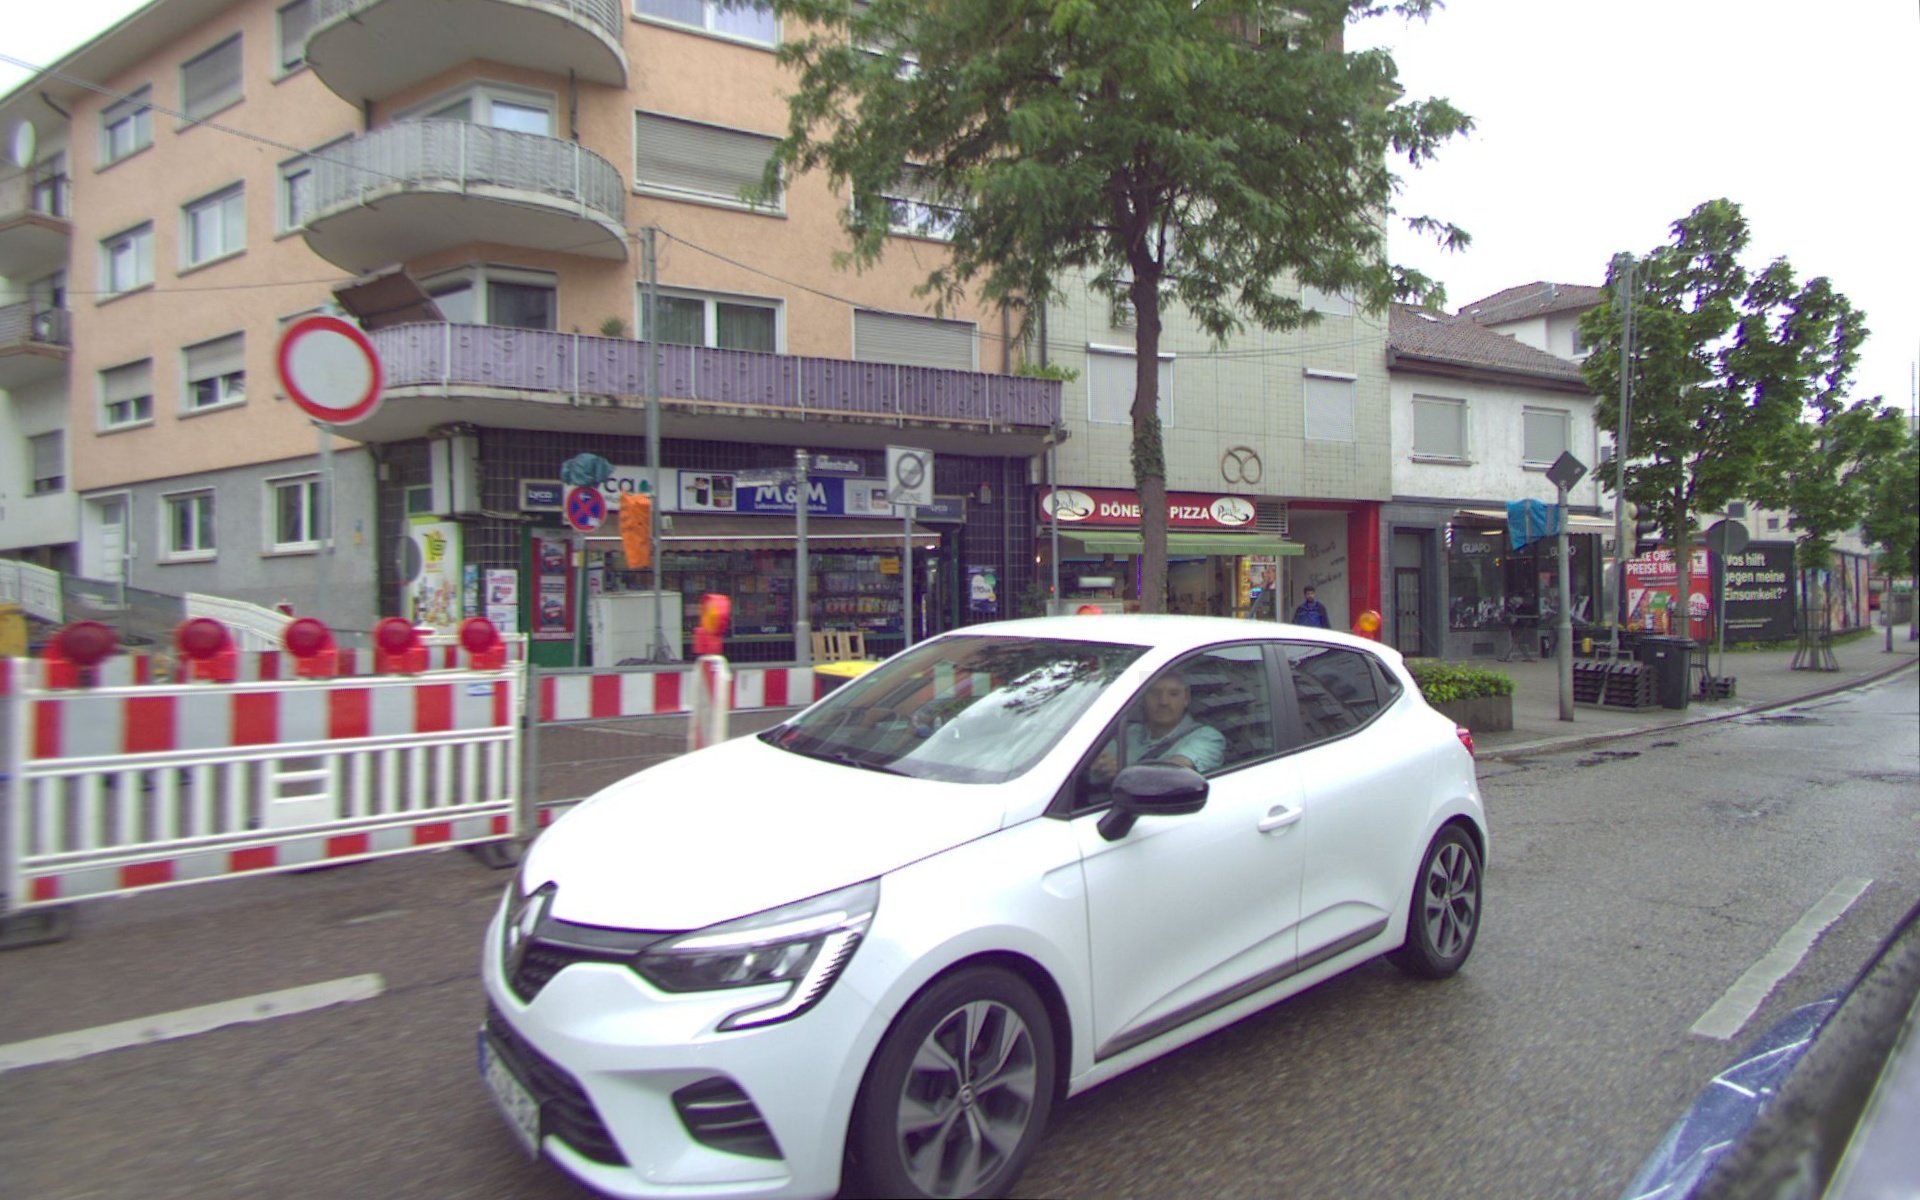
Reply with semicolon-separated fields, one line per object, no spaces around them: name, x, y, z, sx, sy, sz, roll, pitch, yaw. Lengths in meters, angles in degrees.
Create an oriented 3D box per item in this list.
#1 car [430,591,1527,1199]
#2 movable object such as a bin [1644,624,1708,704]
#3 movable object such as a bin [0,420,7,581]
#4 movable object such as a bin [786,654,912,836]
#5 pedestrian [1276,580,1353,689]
car;0.404;0.705;3.734;3.930;1.421;1.680;-1;2;-40
movable object such as a bin;10.697;0.938;15.122;0.653;1.125;0.580;1;0;-36
movable object such as a bin;-22.146;-1.933;20.079;6.479;3.681;2.716;5;2;28
movable object such as a bin;-0.718;0.897;6.518;0.522;1.044;0.621;1;0;-42
pedestrian;6.181;0.575;17.676;0.887;1.814;0.973;-1;2;-11
